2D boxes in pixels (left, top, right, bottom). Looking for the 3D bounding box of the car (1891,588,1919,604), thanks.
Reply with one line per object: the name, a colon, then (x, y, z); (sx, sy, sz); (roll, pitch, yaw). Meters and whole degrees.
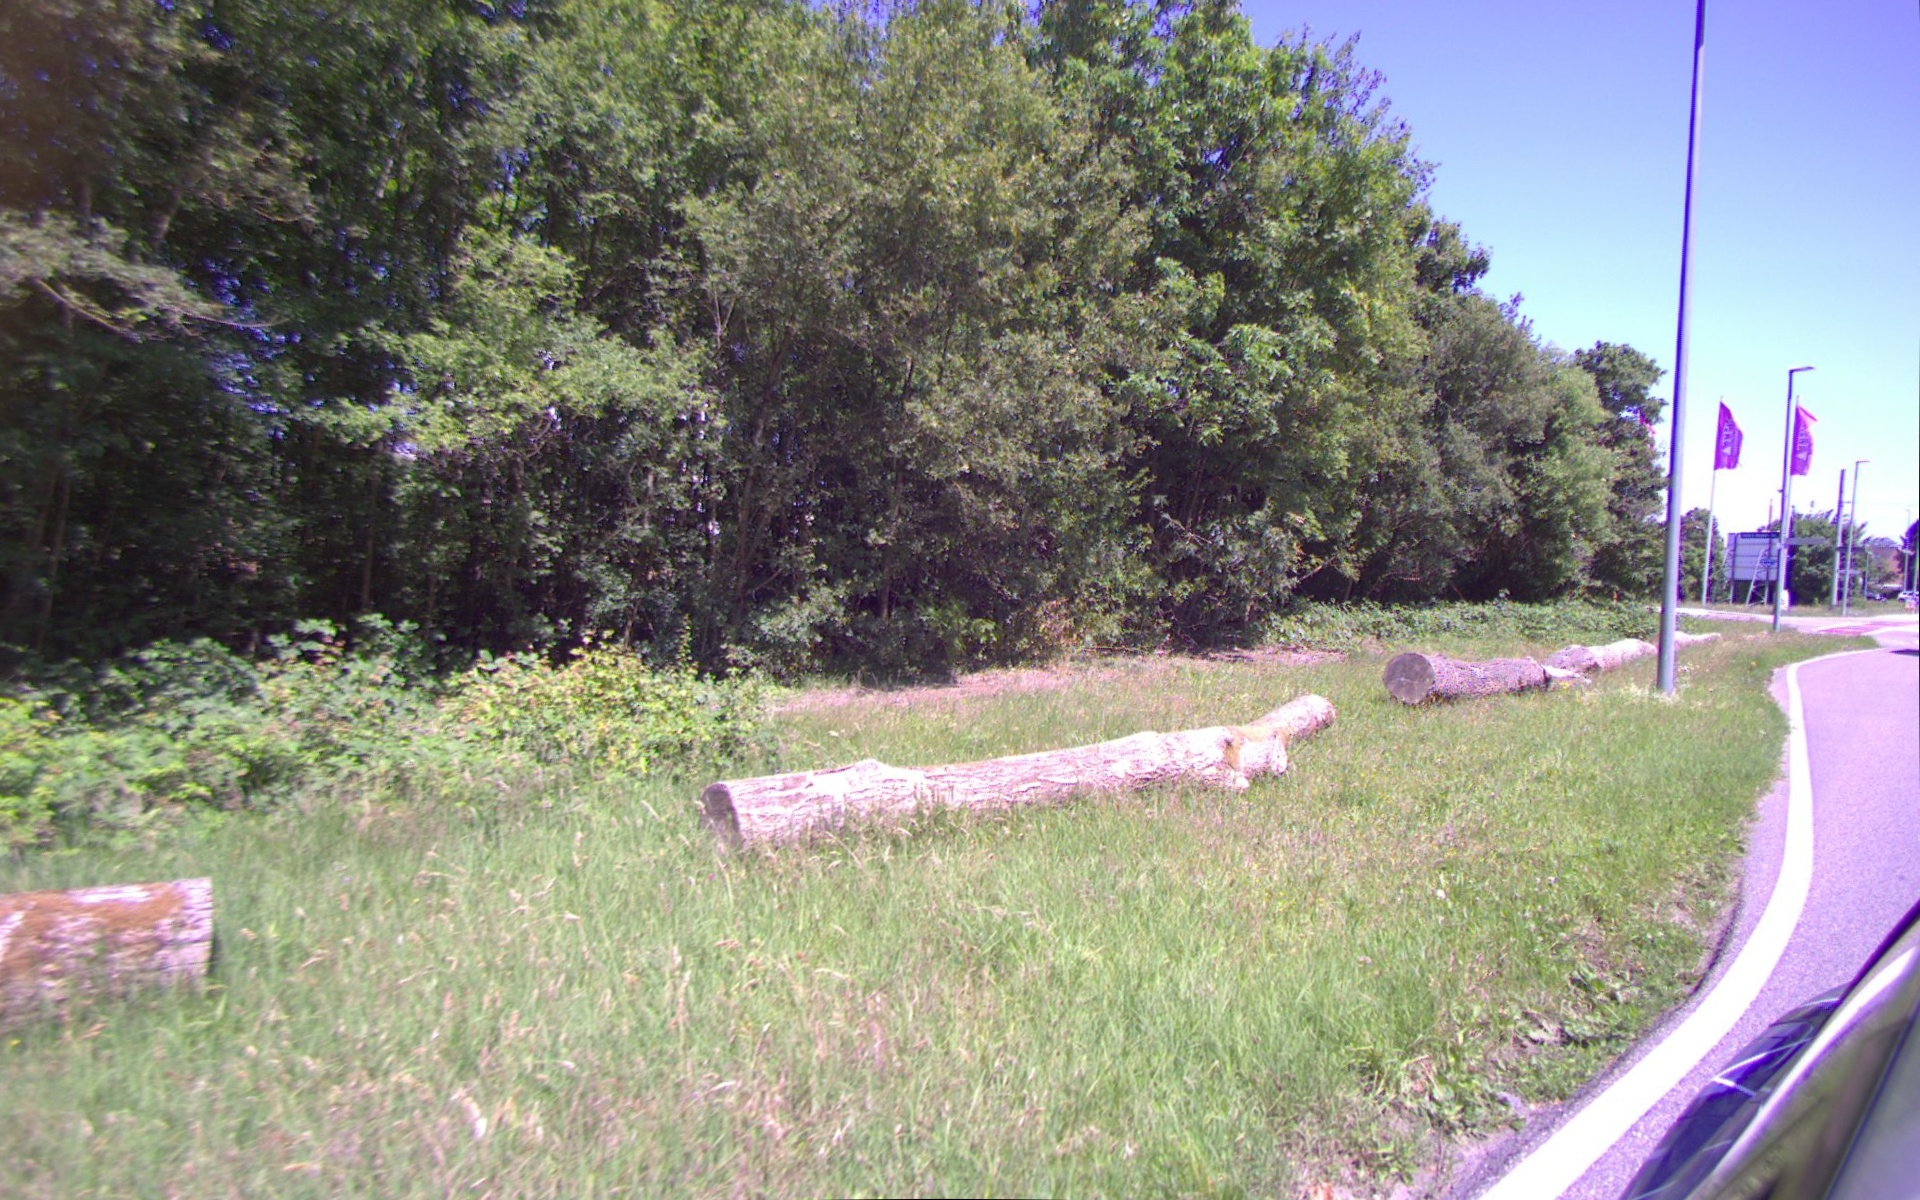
car: (117.563, -0.416, 124.174); (1.959, 1.802, 4.728); (2, 2, -8)
